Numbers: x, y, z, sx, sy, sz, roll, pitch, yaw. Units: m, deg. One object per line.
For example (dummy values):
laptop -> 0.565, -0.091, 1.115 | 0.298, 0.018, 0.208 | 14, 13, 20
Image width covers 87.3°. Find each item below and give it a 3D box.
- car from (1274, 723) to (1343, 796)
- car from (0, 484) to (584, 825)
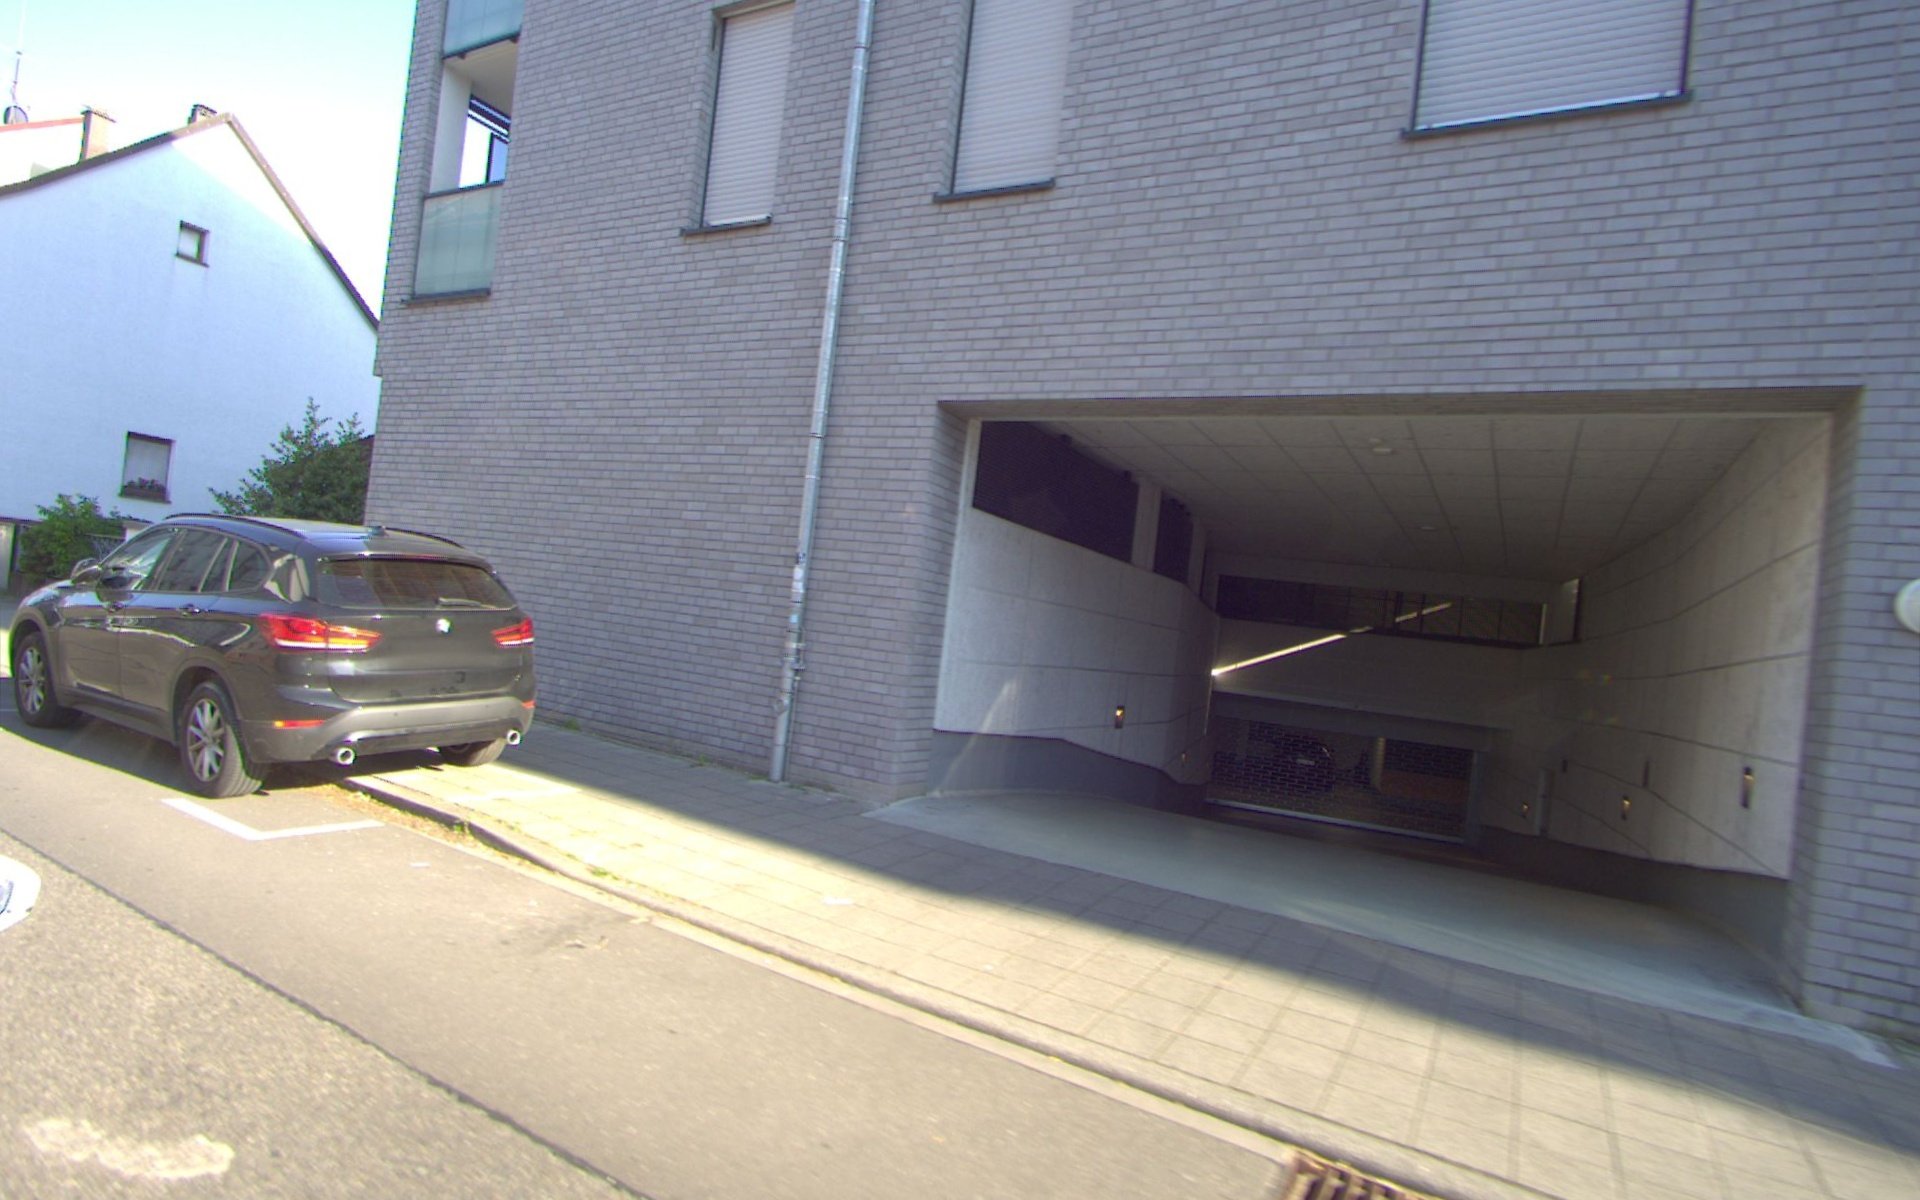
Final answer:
car -> 10.546, 4.743, 30.354 | 1.665, 1.679, 4.003 | 6, -2, 21
car -> -5.006, 0.194, 7.135 | 4.545, 1.657, 1.856 | 6, 0, 31
